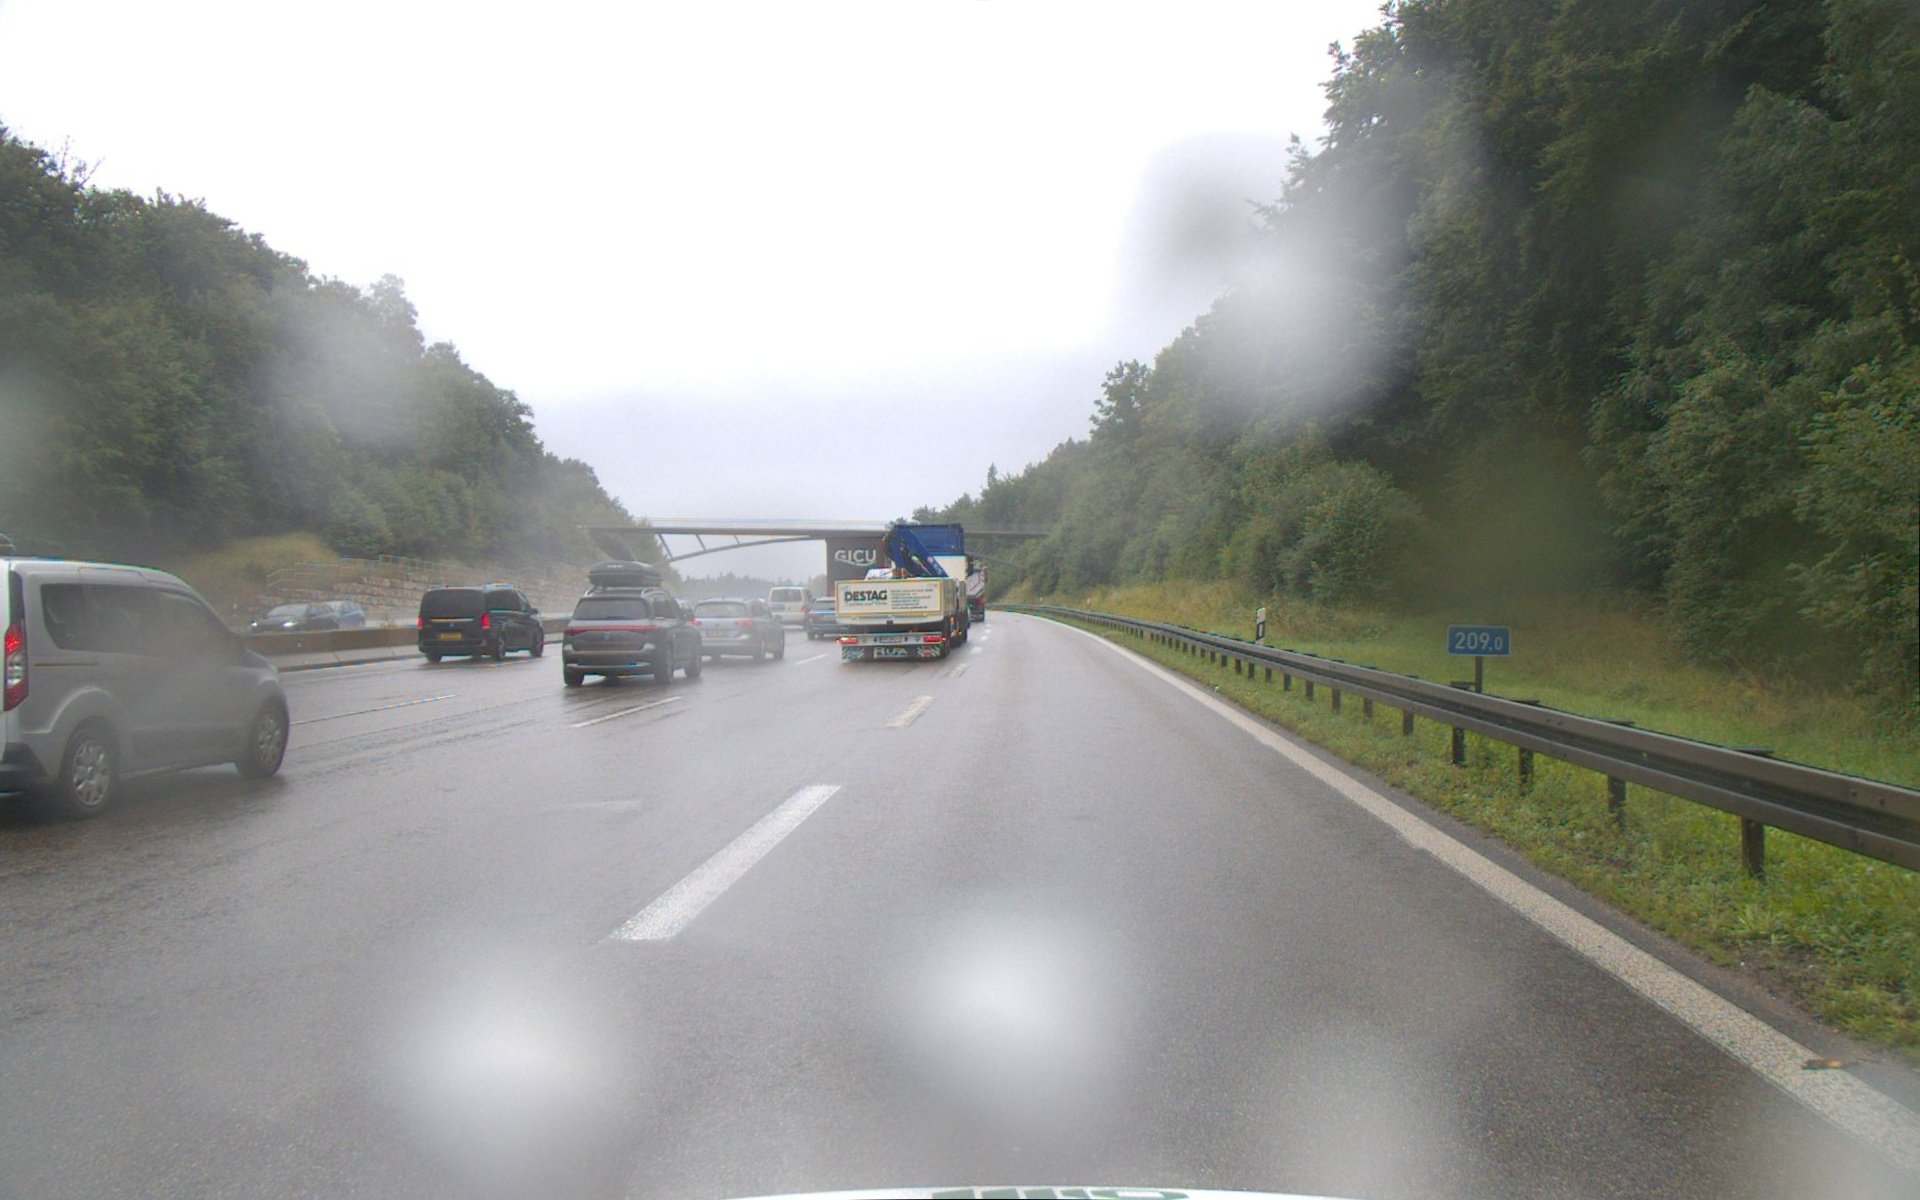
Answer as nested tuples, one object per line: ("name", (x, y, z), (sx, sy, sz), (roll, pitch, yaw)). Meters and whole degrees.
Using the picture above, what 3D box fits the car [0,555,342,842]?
("car", (-6.651, 0.615, 12.617), (1.806, 1.781, 4.570), (-1, 0, 5))

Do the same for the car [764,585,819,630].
("car", (-7.761, 0.382, 76.565), (1.805, 1.892, 4.001), (3, -1, 3))

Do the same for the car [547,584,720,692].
("car", (-5.697, 0.680, 29.383), (1.952, 1.665, 4.001), (3, -1, 4))

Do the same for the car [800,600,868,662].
("car", (-4.486, 1.123, 59.468), (1.755, 2.049, 4.002), (3, -1, 4))

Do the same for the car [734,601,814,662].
("car", (-5.437, 0.891, 48.791), (1.718, 1.676, 4.001), (0, 0, 2))

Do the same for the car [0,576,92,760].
("car", (-10.537, 0.683, 15.937), (1.951, 1.830, 4.156), (0, 0, 4))

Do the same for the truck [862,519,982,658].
("truck", (-1.160, -0.257, 59.172), (3.435, 4.342, 10.605), (3, -1, 2))

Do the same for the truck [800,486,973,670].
("truck", (-1.646, -0.531, 43.736), (3.525, 4.177, 11.563), (0, 0, 2))

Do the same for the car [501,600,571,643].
("car", (-18.666, 0.912, 72.997), (1.952, 1.800, 4.000), (-1, 0, 1))

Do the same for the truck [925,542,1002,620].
("truck", (0.331, -0.996, 98.484), (3.676, 4.040, 11.063), (3, -1, 4))

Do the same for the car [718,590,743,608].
("car", (-23.922, -0.136, 172.620), (1.952, 1.855, 4.001), (-1, 0, 1))

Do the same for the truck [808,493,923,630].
("truck", (-4.173, -1.581, 76.258), (3.676, 5.595, 10.177), (3, -1, 4))

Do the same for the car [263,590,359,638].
("car", (-25.380, 0.533, 64.814), (1.823, 1.801, 4.587), (-1, 0, 2))

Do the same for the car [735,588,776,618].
("car", (-11.518, 0.184, 93.437), (1.588, 1.473, 3.762), (3, -1, 3))

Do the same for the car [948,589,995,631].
("car", (0.571, 0.495, 77.884), (1.952, 1.831, 4.001), (3, -1, 3))

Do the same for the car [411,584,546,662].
("car", (-12.251, 0.548, 42.383), (1.887, 1.864, 4.588), (-1, 0, 3))

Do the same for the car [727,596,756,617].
("car", (-19.053, 0.570, 144.185), (1.953, 1.707, 3.998), (3, -1, -1))

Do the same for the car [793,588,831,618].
("car", (-9.060, 0.198, 101.332), (1.813, 1.691, 4.000), (3, -1, 1))

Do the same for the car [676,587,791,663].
("car", (-5.231, 0.550, 38.749), (1.897, 1.691, 4.002), (0, 0, 4))
